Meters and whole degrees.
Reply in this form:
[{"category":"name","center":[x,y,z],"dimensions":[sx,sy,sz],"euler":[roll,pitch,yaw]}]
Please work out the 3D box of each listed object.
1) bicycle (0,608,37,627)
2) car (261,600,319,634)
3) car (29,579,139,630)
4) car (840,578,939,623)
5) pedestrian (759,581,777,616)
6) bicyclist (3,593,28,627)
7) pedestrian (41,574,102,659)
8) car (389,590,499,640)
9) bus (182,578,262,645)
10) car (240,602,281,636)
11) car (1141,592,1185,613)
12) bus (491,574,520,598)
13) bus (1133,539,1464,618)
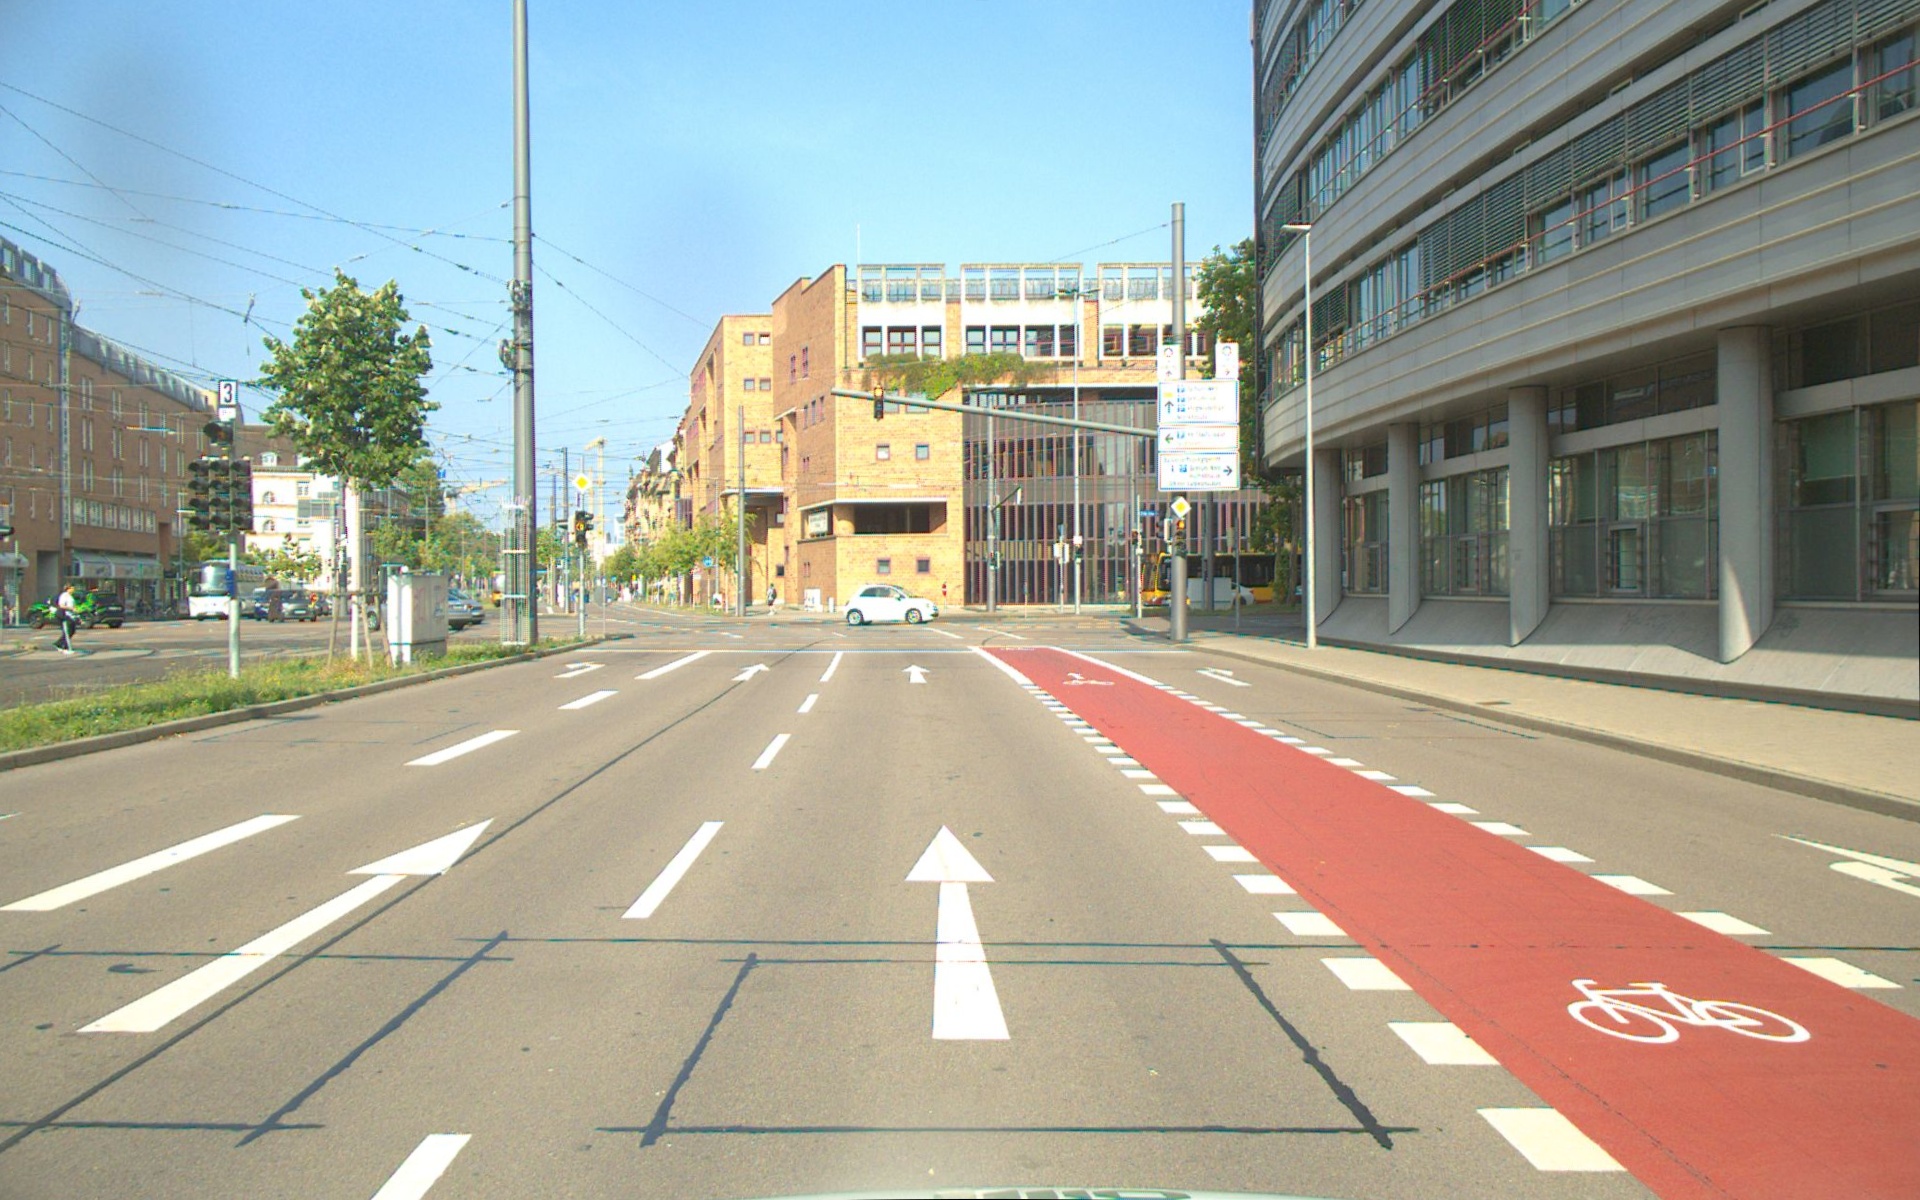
[{"category":"bicycle","center":[-48.850,0.903,85.514],"dimensions":[1.930,0.987,0.418],"euler":[0,-1,-18]},{"category":"car","center":[-31.841,0.802,78.560],"dimensions":[1.685,1.518,3.555],"euler":[-2,1,-37]},{"category":"car","center":[-36.506,0.213,68.948],"dimensions":[3.904,2.049,2.000],"euler":[-1,-1,20]},{"category":"car","center":[-2.610,0.032,61.757],"dimensions":[3.363,1.569,1.736],"euler":[-1,-1,12]},{"category":"pedestrian","center":[-11.292,-0.069,97.444],"dimensions":[0.823,2.049,0.811],"euler":[-1,0,12]},{"category":"bicyclist","center":[-48.846,0.534,85.520],"dimensions":[0.971,1.725,0.667],"euler":[0,-1,-18]},{"category":"pedestrian","center":[-21.801,0.396,40.603],"dimensions":[1.136,2.049,0.773],"euler":[0,-1,-14]},{"category":"car","center":[-19.262,0.552,61.684],"dimensions":[3.802,1.786,1.709],"euler":[-1,-1,27]},{"category":"bus","center":[-46.651,0.786,104.842],"dimensions":[2.701,3.990,12.167],"euler":[0,-1,-15]},{"category":"car","center":[-37.667,0.993,89.042],"dimensions":[1.959,1.664,4.383],"euler":[-1,1,-23]},{"category":"car","center":[9.861,0.121,80.434],"dimensions":[1.913,0.975,1.093],"euler":[1,-2,-4]},{"category":"bus","center":[-38.936,-1.190,141.659],"dimensions":[1.965,2.049,3.975],"euler":[-1,1,-21]},{"category":"bus","center":[17.695,-1.131,86.284],"dimensions":[17.306,3.877,2.855],"euler":[-1,-1,-13]}]
